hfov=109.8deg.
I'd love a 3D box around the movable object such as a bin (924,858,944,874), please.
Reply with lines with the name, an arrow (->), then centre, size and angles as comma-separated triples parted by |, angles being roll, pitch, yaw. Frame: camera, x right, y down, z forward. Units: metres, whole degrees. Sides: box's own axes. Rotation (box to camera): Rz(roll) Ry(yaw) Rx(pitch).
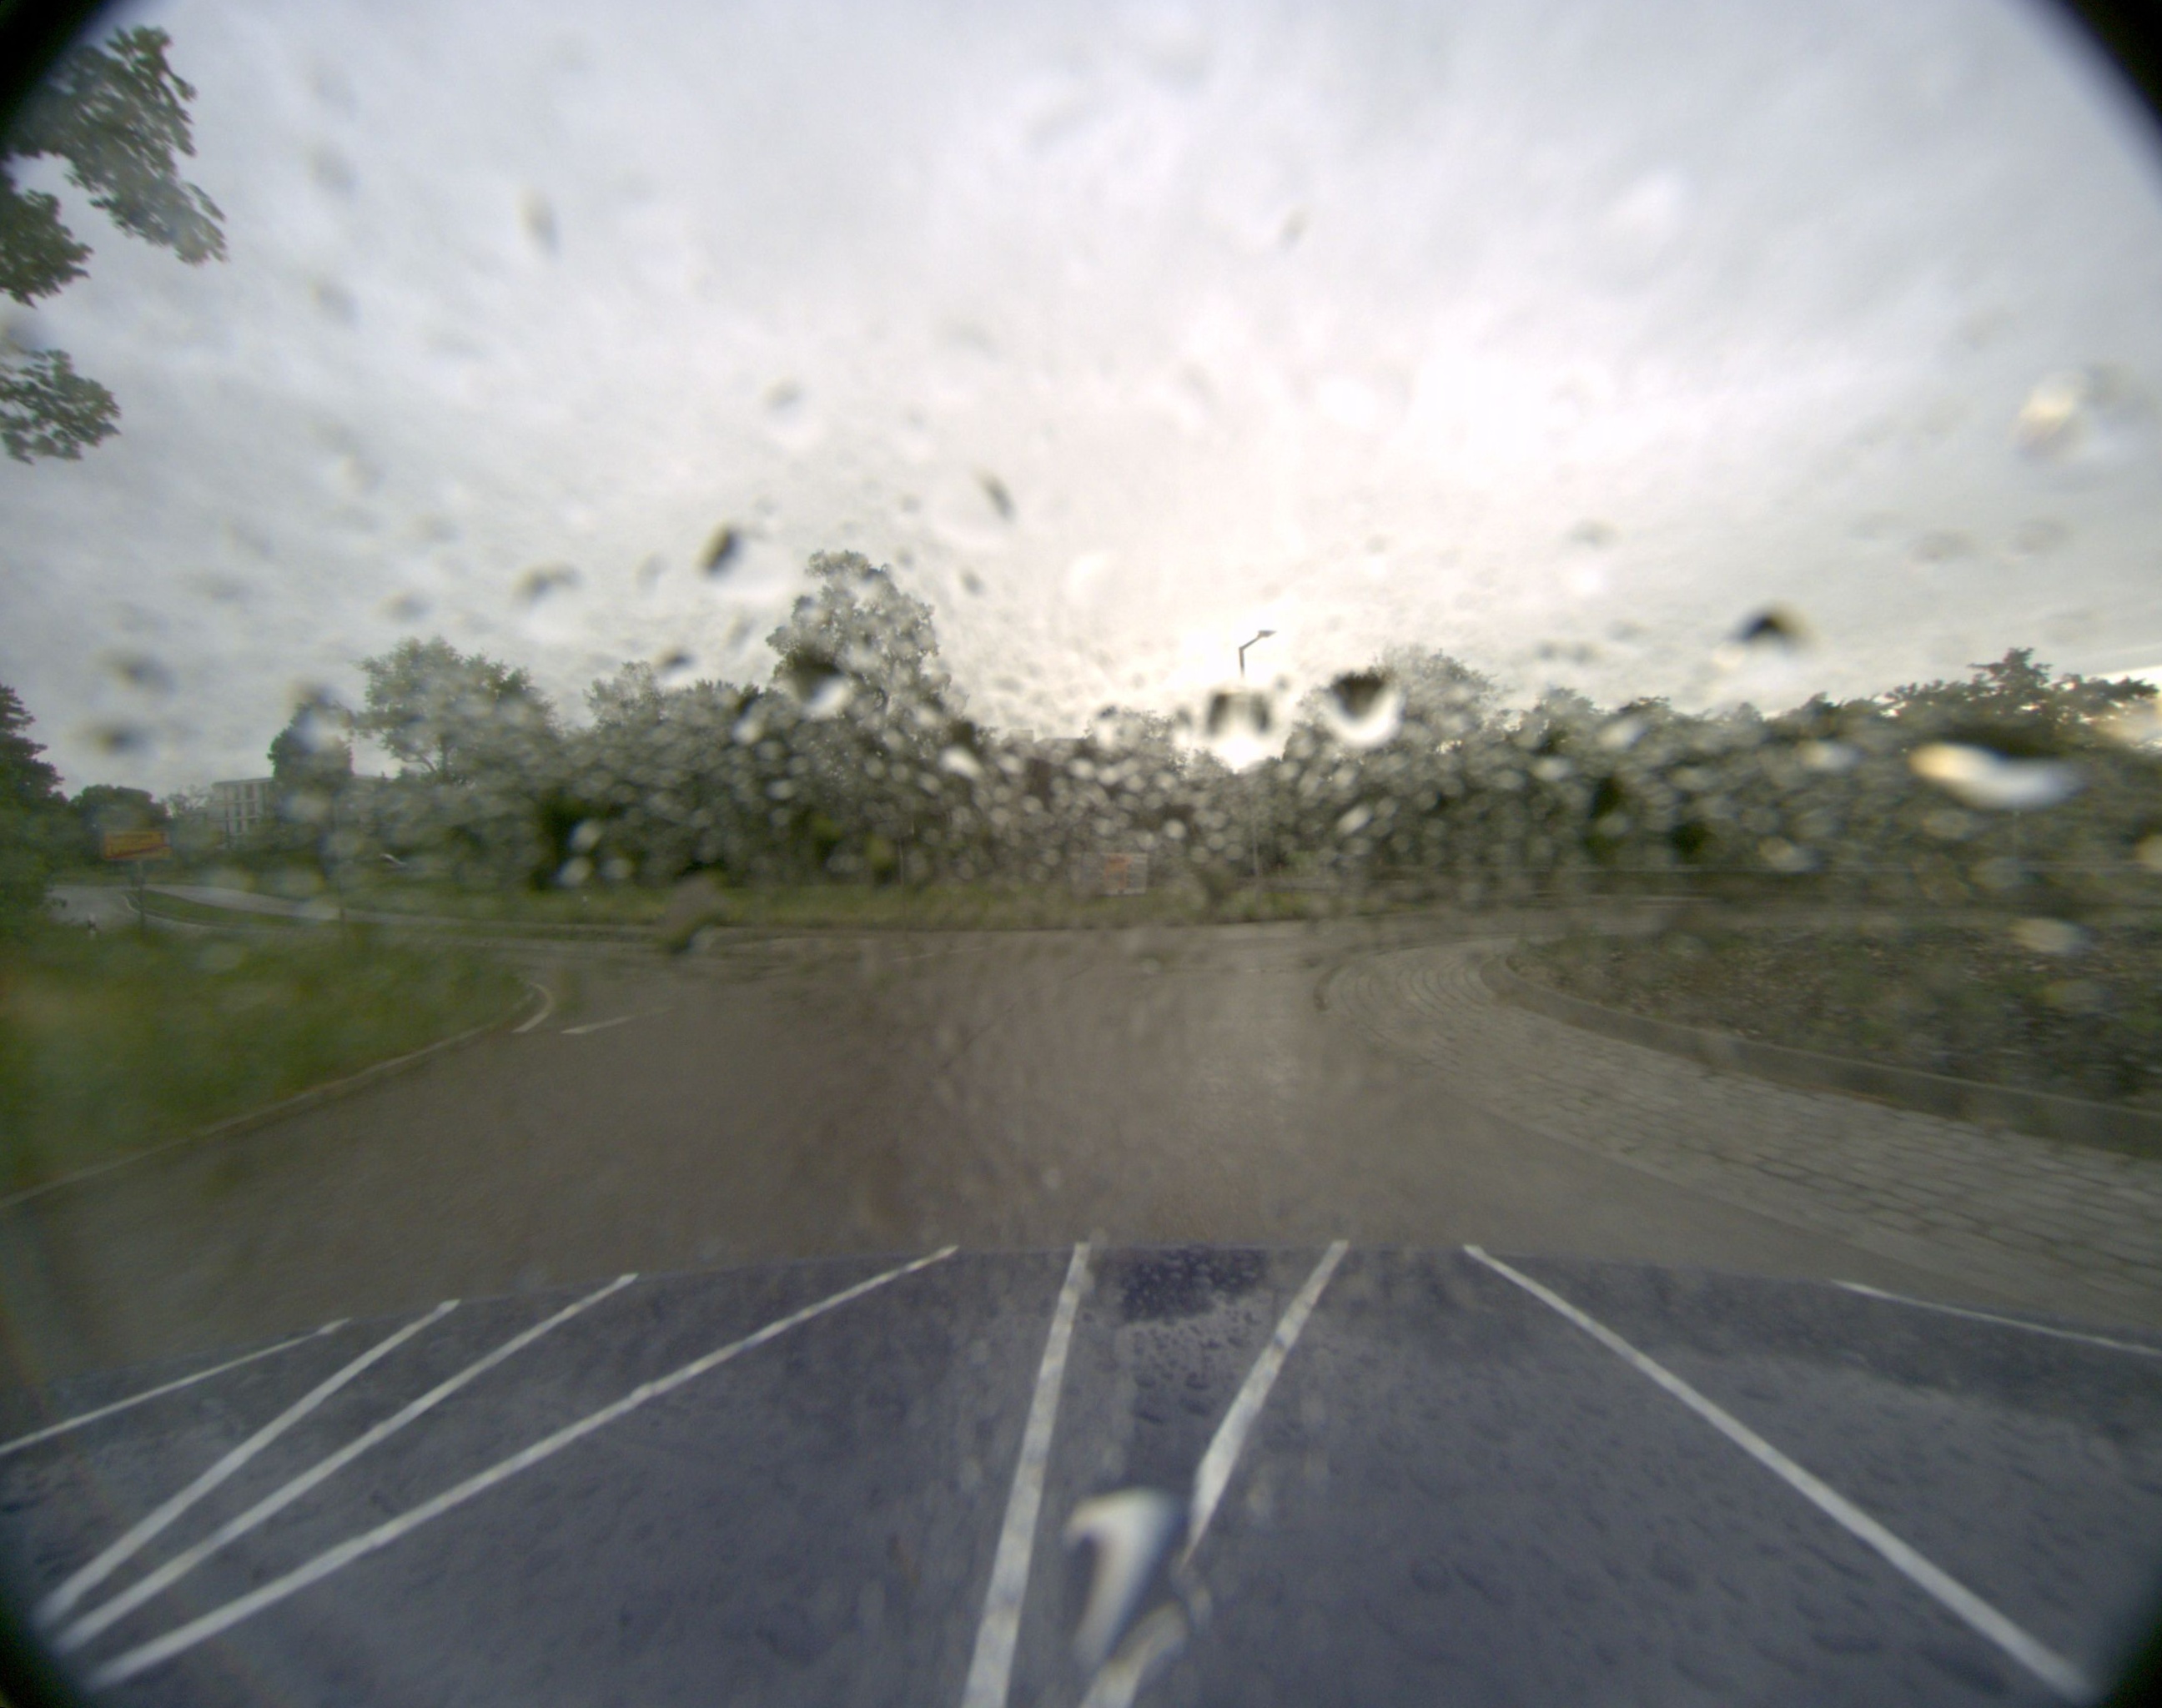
movable object such as a bin -> -13.841, 1.156, 71.633 | 1.424, 1.428, 1.200 | -2, 0, 41

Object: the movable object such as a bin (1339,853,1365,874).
movable object such as a bin -> 18.437, 0.639, 51.665 | 1.199, 1.334, 1.072 | -6, 2, -33

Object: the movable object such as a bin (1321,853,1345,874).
movable object such as a bin -> 17.458, 0.663, 52.645 | 1.200, 1.429, 1.072 | -3, 1, -32

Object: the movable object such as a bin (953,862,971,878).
movable object such as a bin -> -10.924, 1.489, 69.684 | 1.072, 1.429, 1.200 | -2, 2, 41
